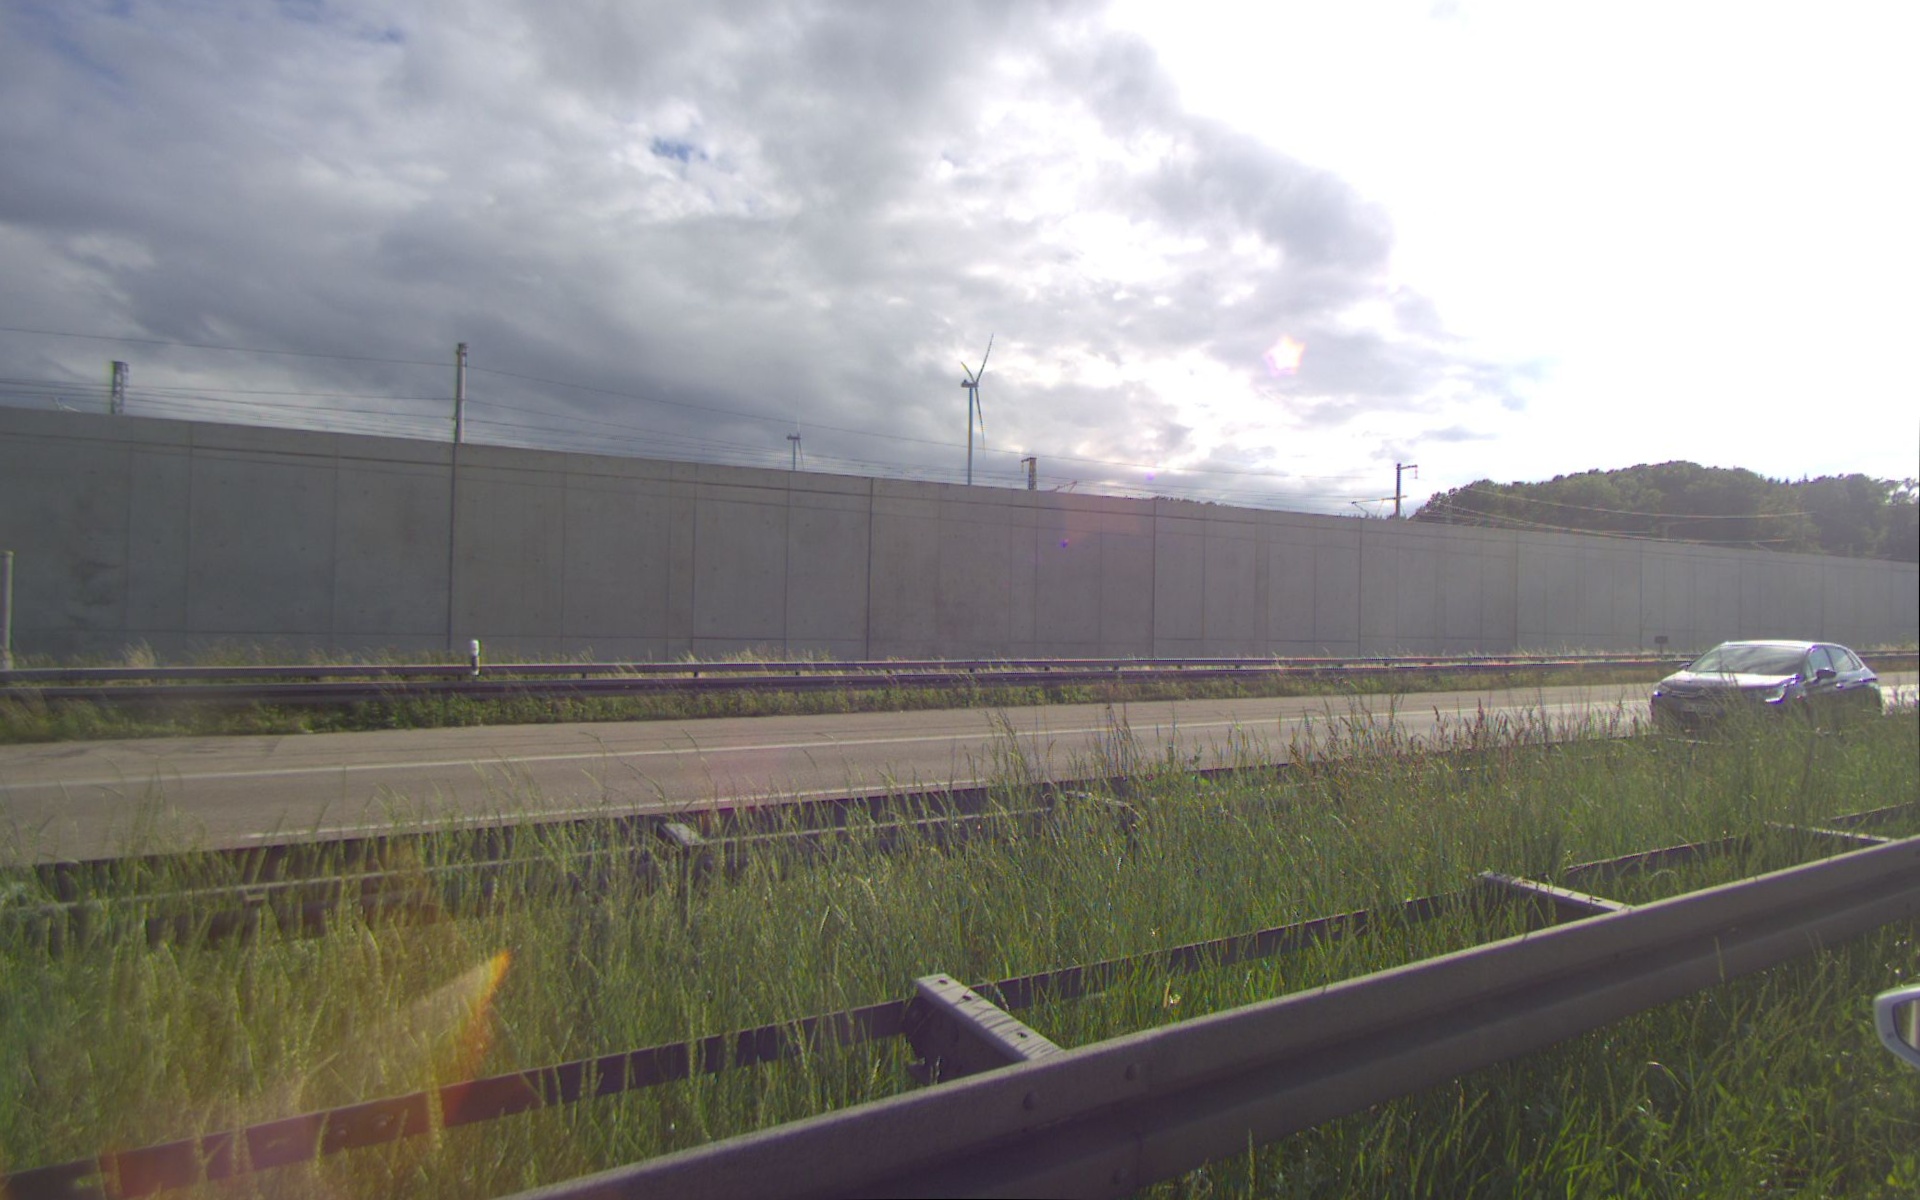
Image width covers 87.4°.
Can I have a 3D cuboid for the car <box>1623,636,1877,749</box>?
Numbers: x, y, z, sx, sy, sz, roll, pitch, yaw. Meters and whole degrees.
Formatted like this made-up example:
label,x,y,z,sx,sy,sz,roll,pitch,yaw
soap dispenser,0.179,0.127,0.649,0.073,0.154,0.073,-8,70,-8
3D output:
label,x,y,z,sx,sy,sz,roll,pitch,yaw
car,12.043,1.341,15.288,3.783,1.499,1.761,2,-2,-30
